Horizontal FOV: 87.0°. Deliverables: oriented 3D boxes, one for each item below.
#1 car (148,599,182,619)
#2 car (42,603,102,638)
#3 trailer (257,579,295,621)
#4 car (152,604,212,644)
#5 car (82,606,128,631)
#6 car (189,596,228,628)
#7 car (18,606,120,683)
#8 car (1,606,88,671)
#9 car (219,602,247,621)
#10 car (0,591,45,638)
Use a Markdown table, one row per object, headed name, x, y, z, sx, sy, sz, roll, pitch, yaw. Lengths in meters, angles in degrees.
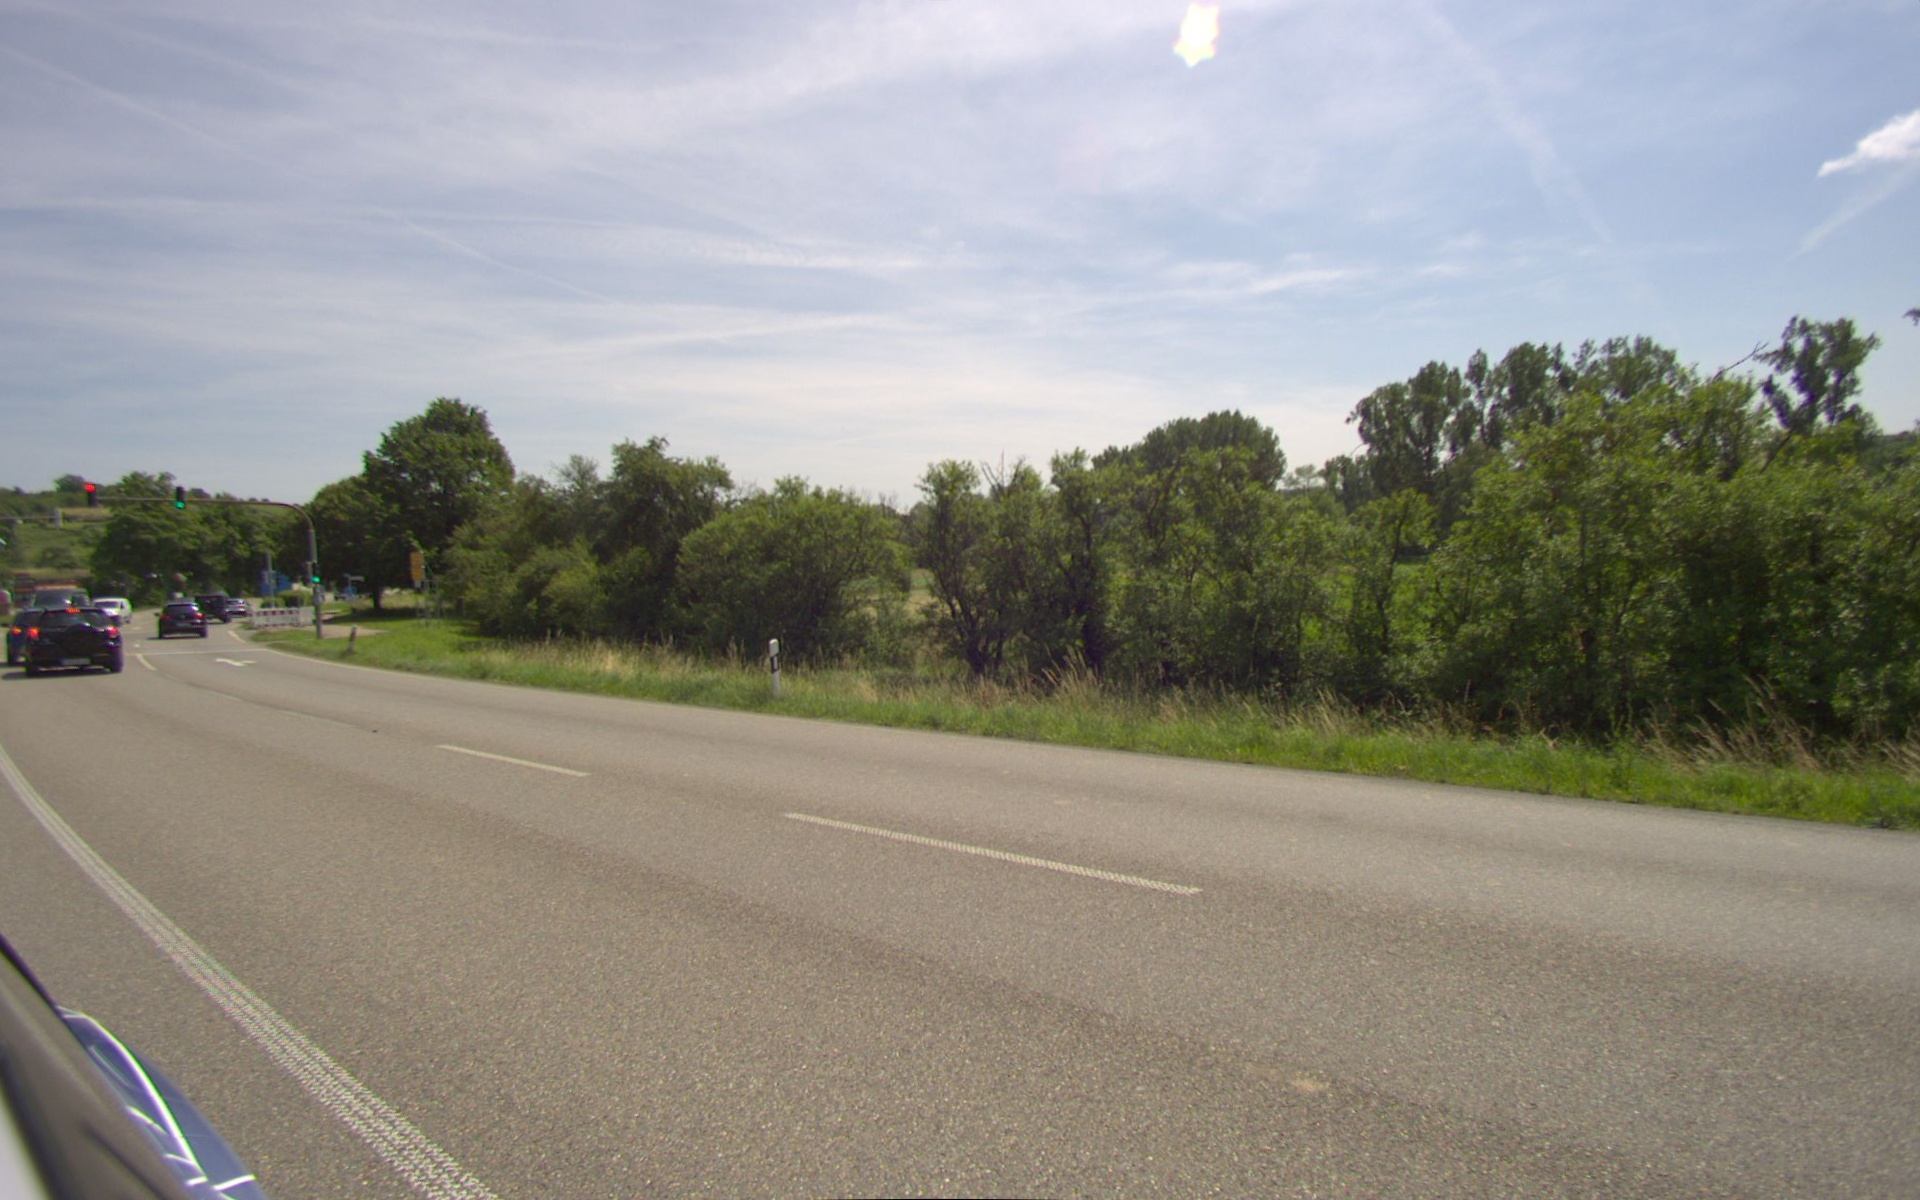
| name | x | y | z | sx | sy | sz | roll | pitch | yaw |
| --- | --- | --- | --- | --- | --- | --- | --- | --- | --- |
| car | -73.358 | 0.801 | 93.455 | 1.779 | 1.745 | 4.012 | -3 | 1 | -29 |
| car | -51.709 | 1.156 | 58.986 | 1.779 | 1.745 | 4.013 | -3 | 3 | -29 |
| trailer | -70.344 | -0.004 | 104.212 | 2.531 | 4.060 | 13.634 | -1 | 0 | -31 |
| car | -35.965 | 1.058 | 46.857 | 1.967 | 1.708 | 4.011 | -1 | 1 | -34 |
| car | -60.249 | 1.292 | 71.388 | 1.754 | 1.504 | 4.170 | -2 | 3 | -30 |
| car | -51.095 | 0.795 | 68.904 | 1.968 | 2.021 | 5.177 | -2 | 1 | -35 |
| car | -21.989 | 1.028 | 25.044 | 1.749 | 1.671 | 4.006 | -2 | 1 | -41 |
| car | -26.604 | 1.047 | 29.404 | 1.750 | 1.671 | 4.004 | -2 | 1 | -43 |
| car | -58.713 | 0.919 | 81.737 | 1.747 | 1.507 | 4.010 | -1 | 1 | -36 |
| car | -54.473 | 0.789 | 58.666 | 1.953 | 2.537 | 4.162 | -3 | 3 | -43 |
